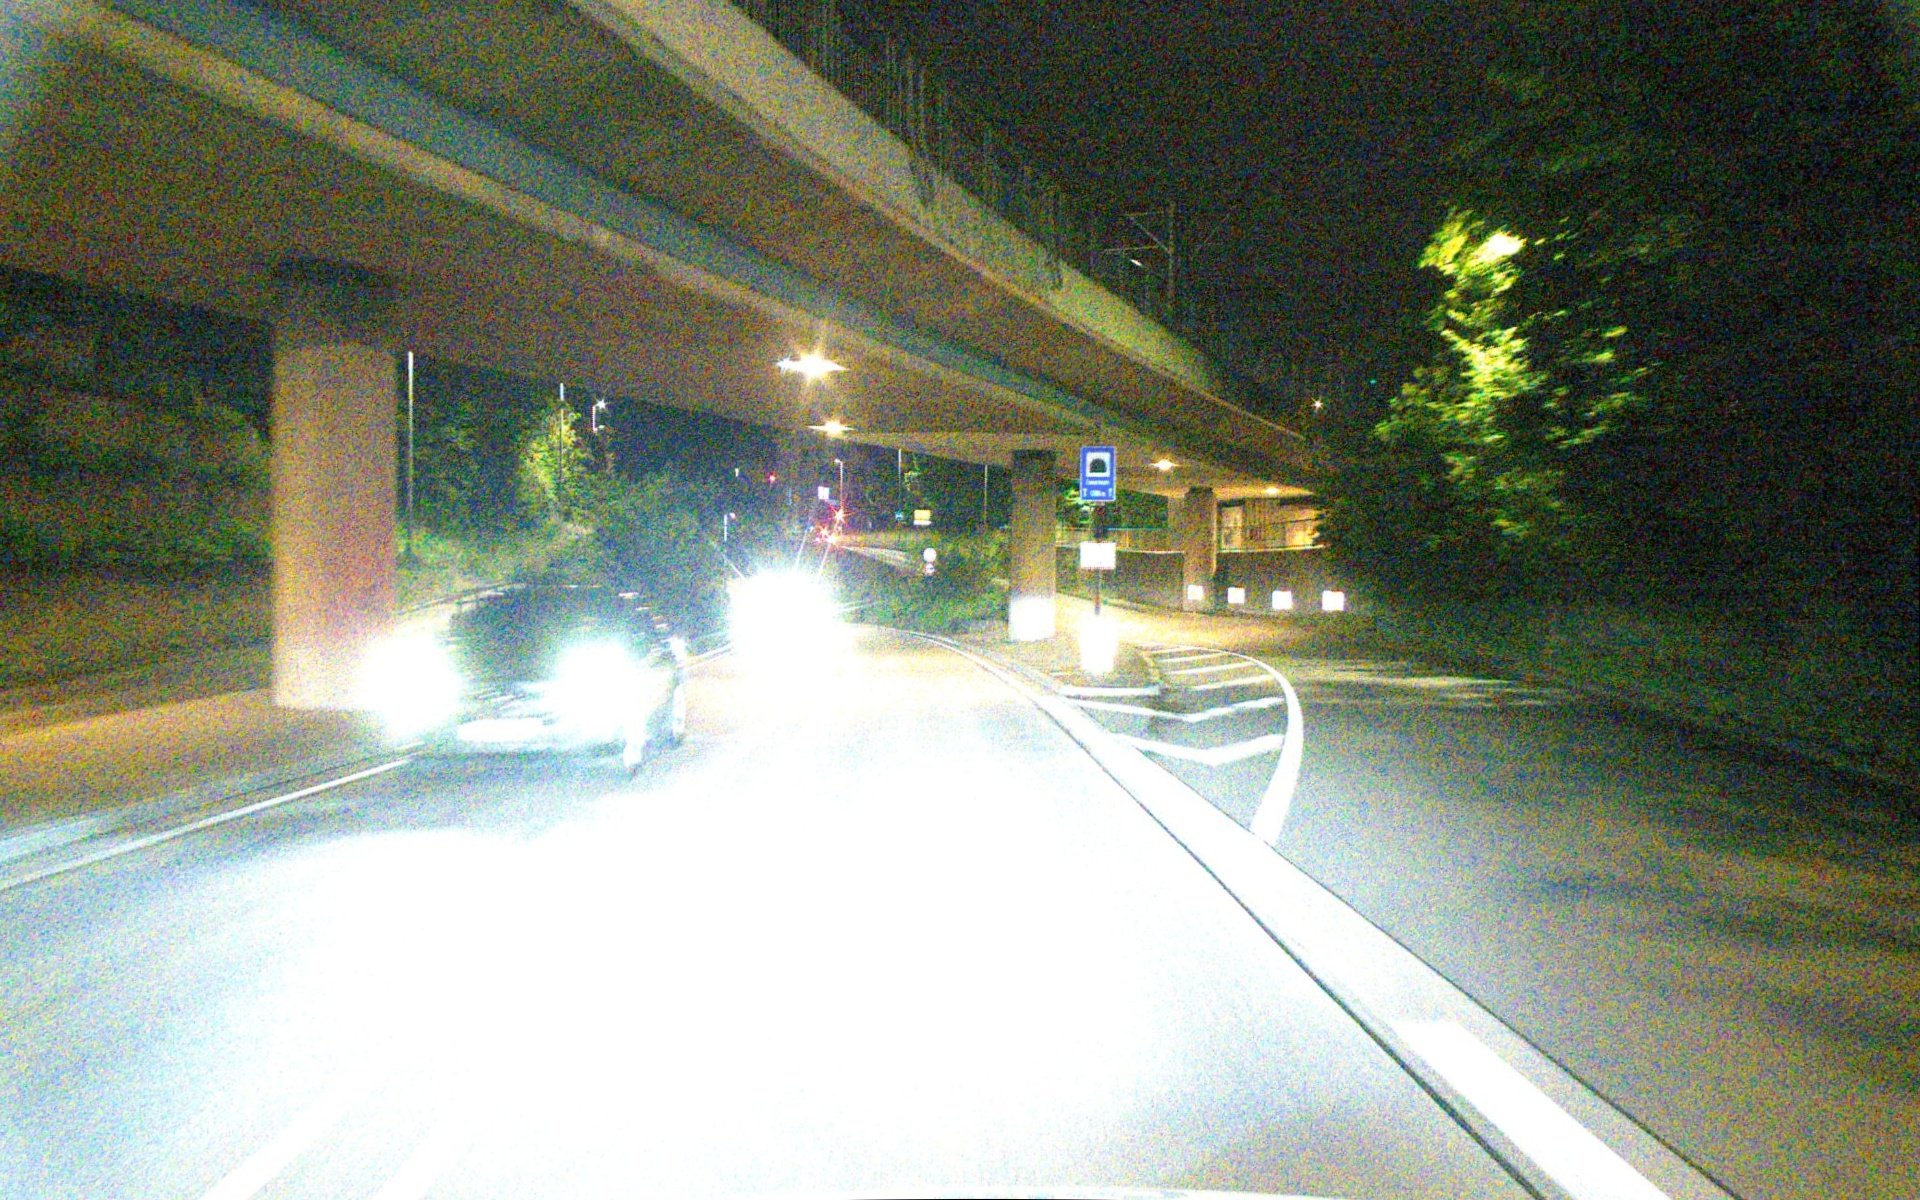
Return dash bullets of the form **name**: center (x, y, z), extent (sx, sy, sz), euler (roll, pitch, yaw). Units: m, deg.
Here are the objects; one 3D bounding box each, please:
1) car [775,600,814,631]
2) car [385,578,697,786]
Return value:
- **car**: center (-8.185, 0.803, 82.209), extent (1.752, 1.473, 4.168), euler (0, -1, -4)
- **car**: center (-3.572, 0.664, 14.897), extent (1.844, 1.581, 4.216), euler (-1, -1, -2)
